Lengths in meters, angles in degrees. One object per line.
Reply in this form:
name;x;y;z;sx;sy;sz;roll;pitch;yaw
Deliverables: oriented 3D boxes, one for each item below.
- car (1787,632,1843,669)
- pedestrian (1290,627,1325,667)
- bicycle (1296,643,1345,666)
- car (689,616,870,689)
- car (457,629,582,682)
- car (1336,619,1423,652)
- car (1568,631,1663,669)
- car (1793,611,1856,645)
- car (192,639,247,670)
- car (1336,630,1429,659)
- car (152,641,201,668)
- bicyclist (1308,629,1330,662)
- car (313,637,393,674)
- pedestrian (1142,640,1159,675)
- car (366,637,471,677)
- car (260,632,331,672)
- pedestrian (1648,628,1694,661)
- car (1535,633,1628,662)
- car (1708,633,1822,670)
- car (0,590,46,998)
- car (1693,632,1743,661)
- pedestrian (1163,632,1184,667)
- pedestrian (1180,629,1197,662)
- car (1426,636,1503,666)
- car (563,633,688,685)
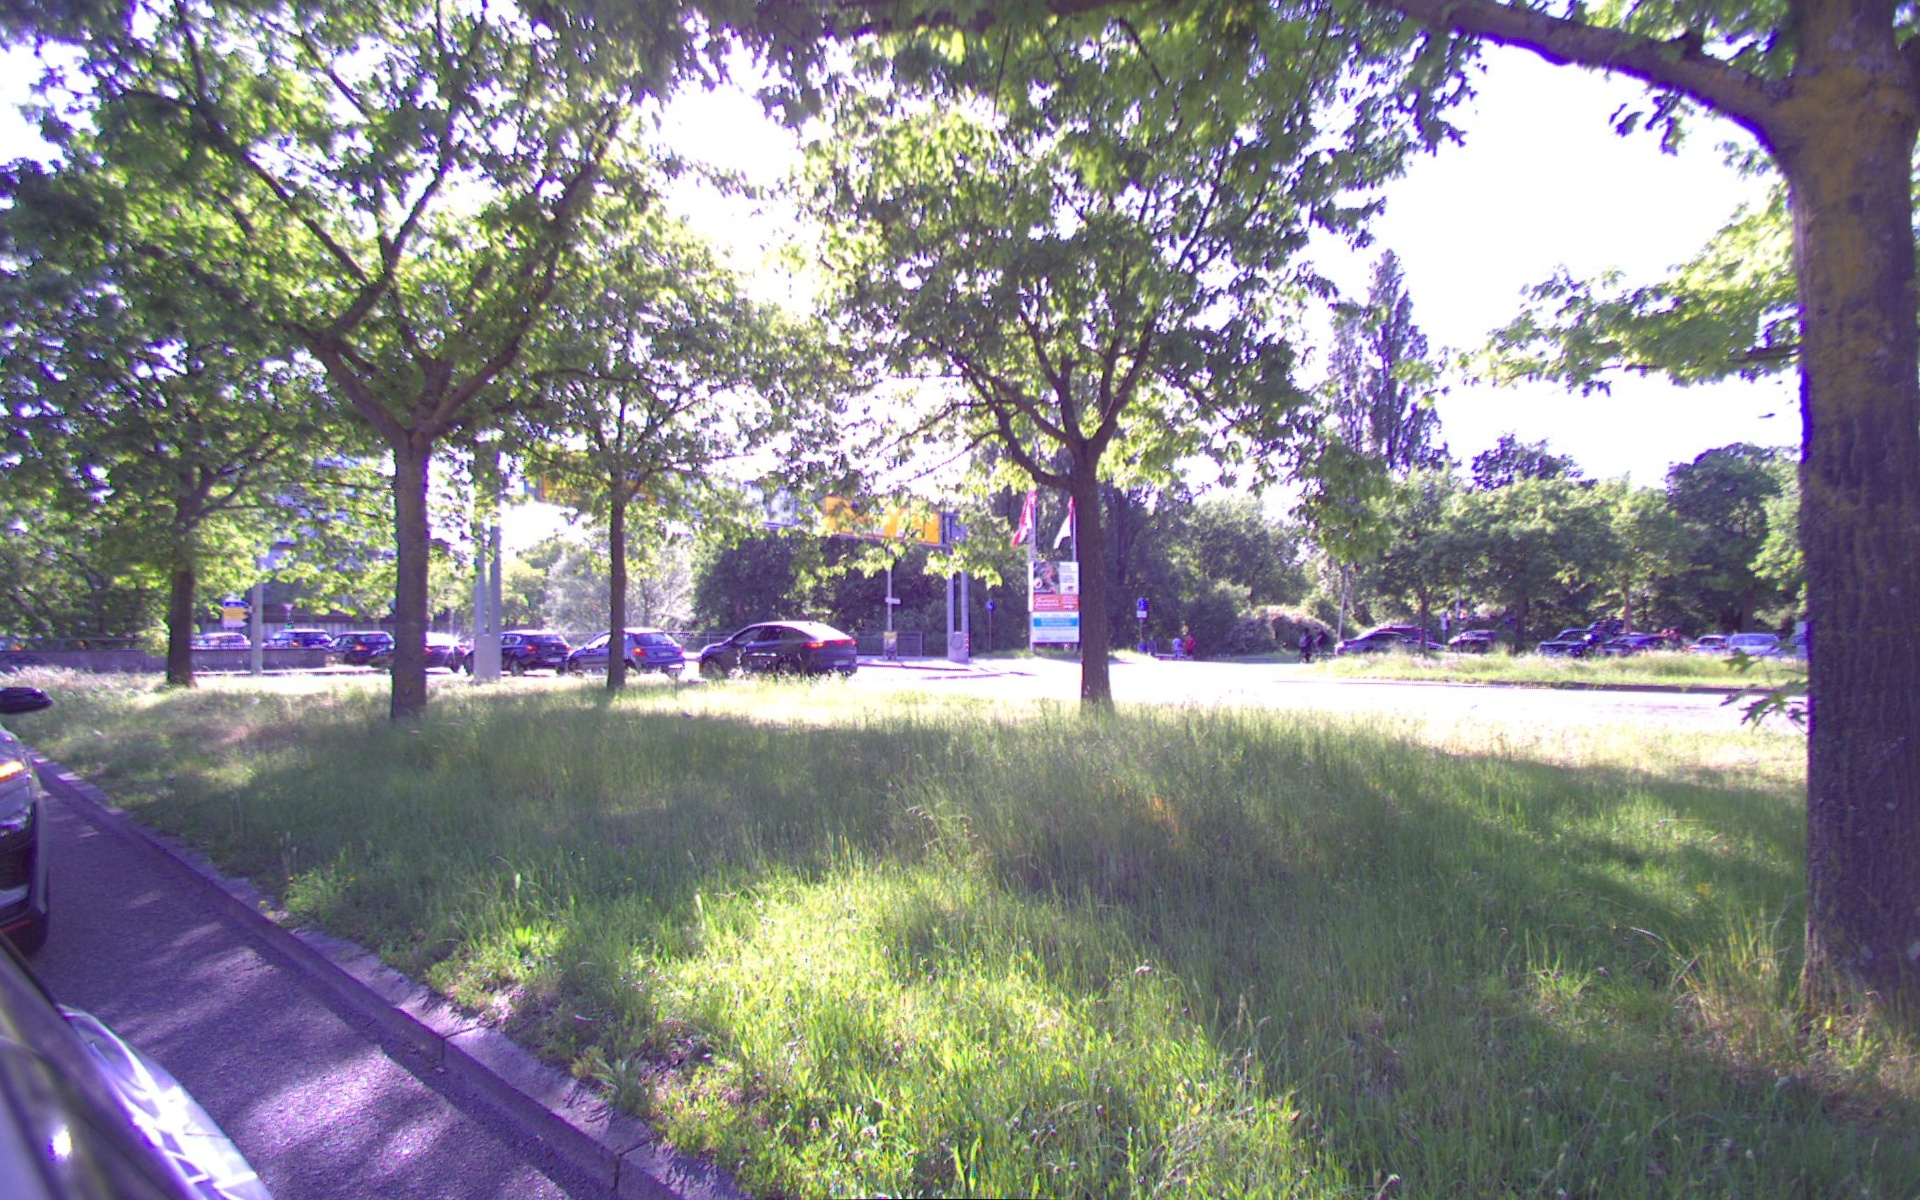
car;35.620;2.075;42.212;1.617;1.430;3.038;-2;-2;38
pedestrian;14.388;1.925;41.896;0.972;1.642;0.917;0;-2;-15
bicycle;16.529;2.497;46.378;2.016;1.060;0.684;-1;-2;13
car;-4.502;1.250;24.957;4.450;1.660;1.810;-2;-2;35
car;-14.160;1.734;32.449;4.215;1.562;1.853;-2;-2;37
car;22.427;1.908;54.281;3.959;1.678;1.992;-1;-2;13
car;23.540;1.794;36.428;2.783;1.315;1.327;-2;-2;32
car;43.895;1.427;51.390;3.694;1.681;1.895;1;-2;-41
car;-35.068;2.595;47.929;2.875;1.350;1.214;-5;-4;34
car;21.136;2.213;50.750;3.957;1.385;1.826;-1;-2;11
car;-39.989;2.788;51.657;2.761;1.270;1.186;-4;-3;35
bicyclist;16.466;2.094;46.433;0.839;1.500;0.678;-1;-2;13
car;-23.410;2.132;39.024;3.195;1.349;1.464;-3;-3;35
pedestrian;11.290;3.416;60.084;0.847;2.060;0.863;-1;0;1
car;-19.218;1.994;35.853;4.058;1.323;1.604;-2;-2;35
car;-28.146;2.215;42.847;3.195;1.571;1.433;-4;-3;34
pedestrian;28.183;1.762;40.148;1.097;1.285;1.144;-1;-2;14
car;23.360;1.784;38.111;2.774;1.072;1.324;-1;-2;23
car;26.892;1.706;33.904;2.783;1.165;1.327;-1;-2;32
car;-5.626;0.771;4.597;3.986;1.544;1.730;-2;-2;41
car;32.977;1.995;44.107;1.616;1.187;3.040;-2;-2;35
pedestrian;12.114;2.796;57.414;0.845;1.881;0.904;-1;0;-8
pedestrian;12.866;2.560;57.020;0.742;1.802;0.905;-1;0;2
car;31.607;3.207;63.508;3.961;1.807;1.991;-1;-2;14
car;-9.534;1.651;28.748;3.601;1.374;1.543;-2;-2;35
